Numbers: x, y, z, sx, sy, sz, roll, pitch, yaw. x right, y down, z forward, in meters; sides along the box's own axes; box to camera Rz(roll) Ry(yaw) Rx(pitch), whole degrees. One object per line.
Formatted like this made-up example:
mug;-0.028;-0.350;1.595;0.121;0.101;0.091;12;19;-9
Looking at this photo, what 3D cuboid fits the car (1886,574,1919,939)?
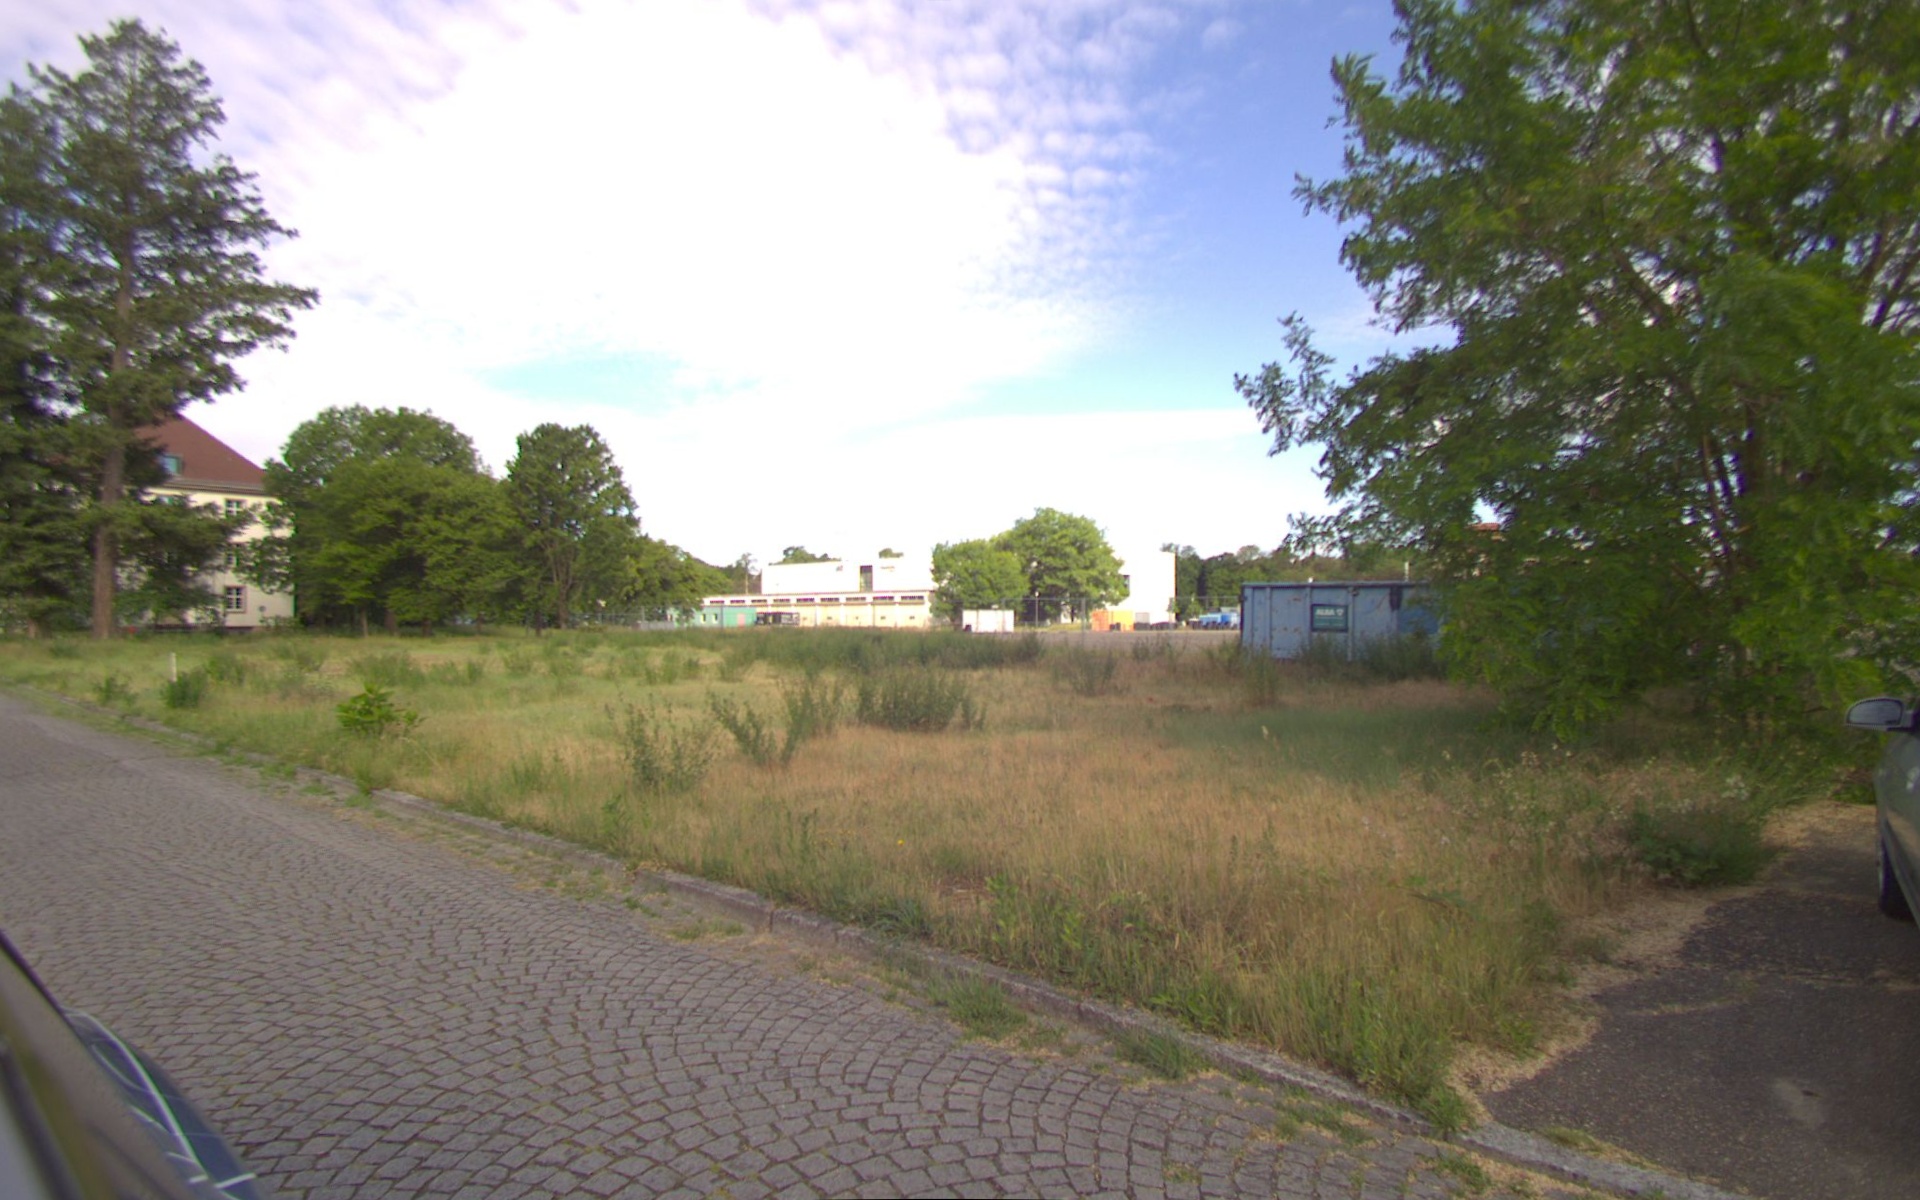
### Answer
car;4.166;0.664;3.123;1.645;1.486;3.542;-1;1;38
